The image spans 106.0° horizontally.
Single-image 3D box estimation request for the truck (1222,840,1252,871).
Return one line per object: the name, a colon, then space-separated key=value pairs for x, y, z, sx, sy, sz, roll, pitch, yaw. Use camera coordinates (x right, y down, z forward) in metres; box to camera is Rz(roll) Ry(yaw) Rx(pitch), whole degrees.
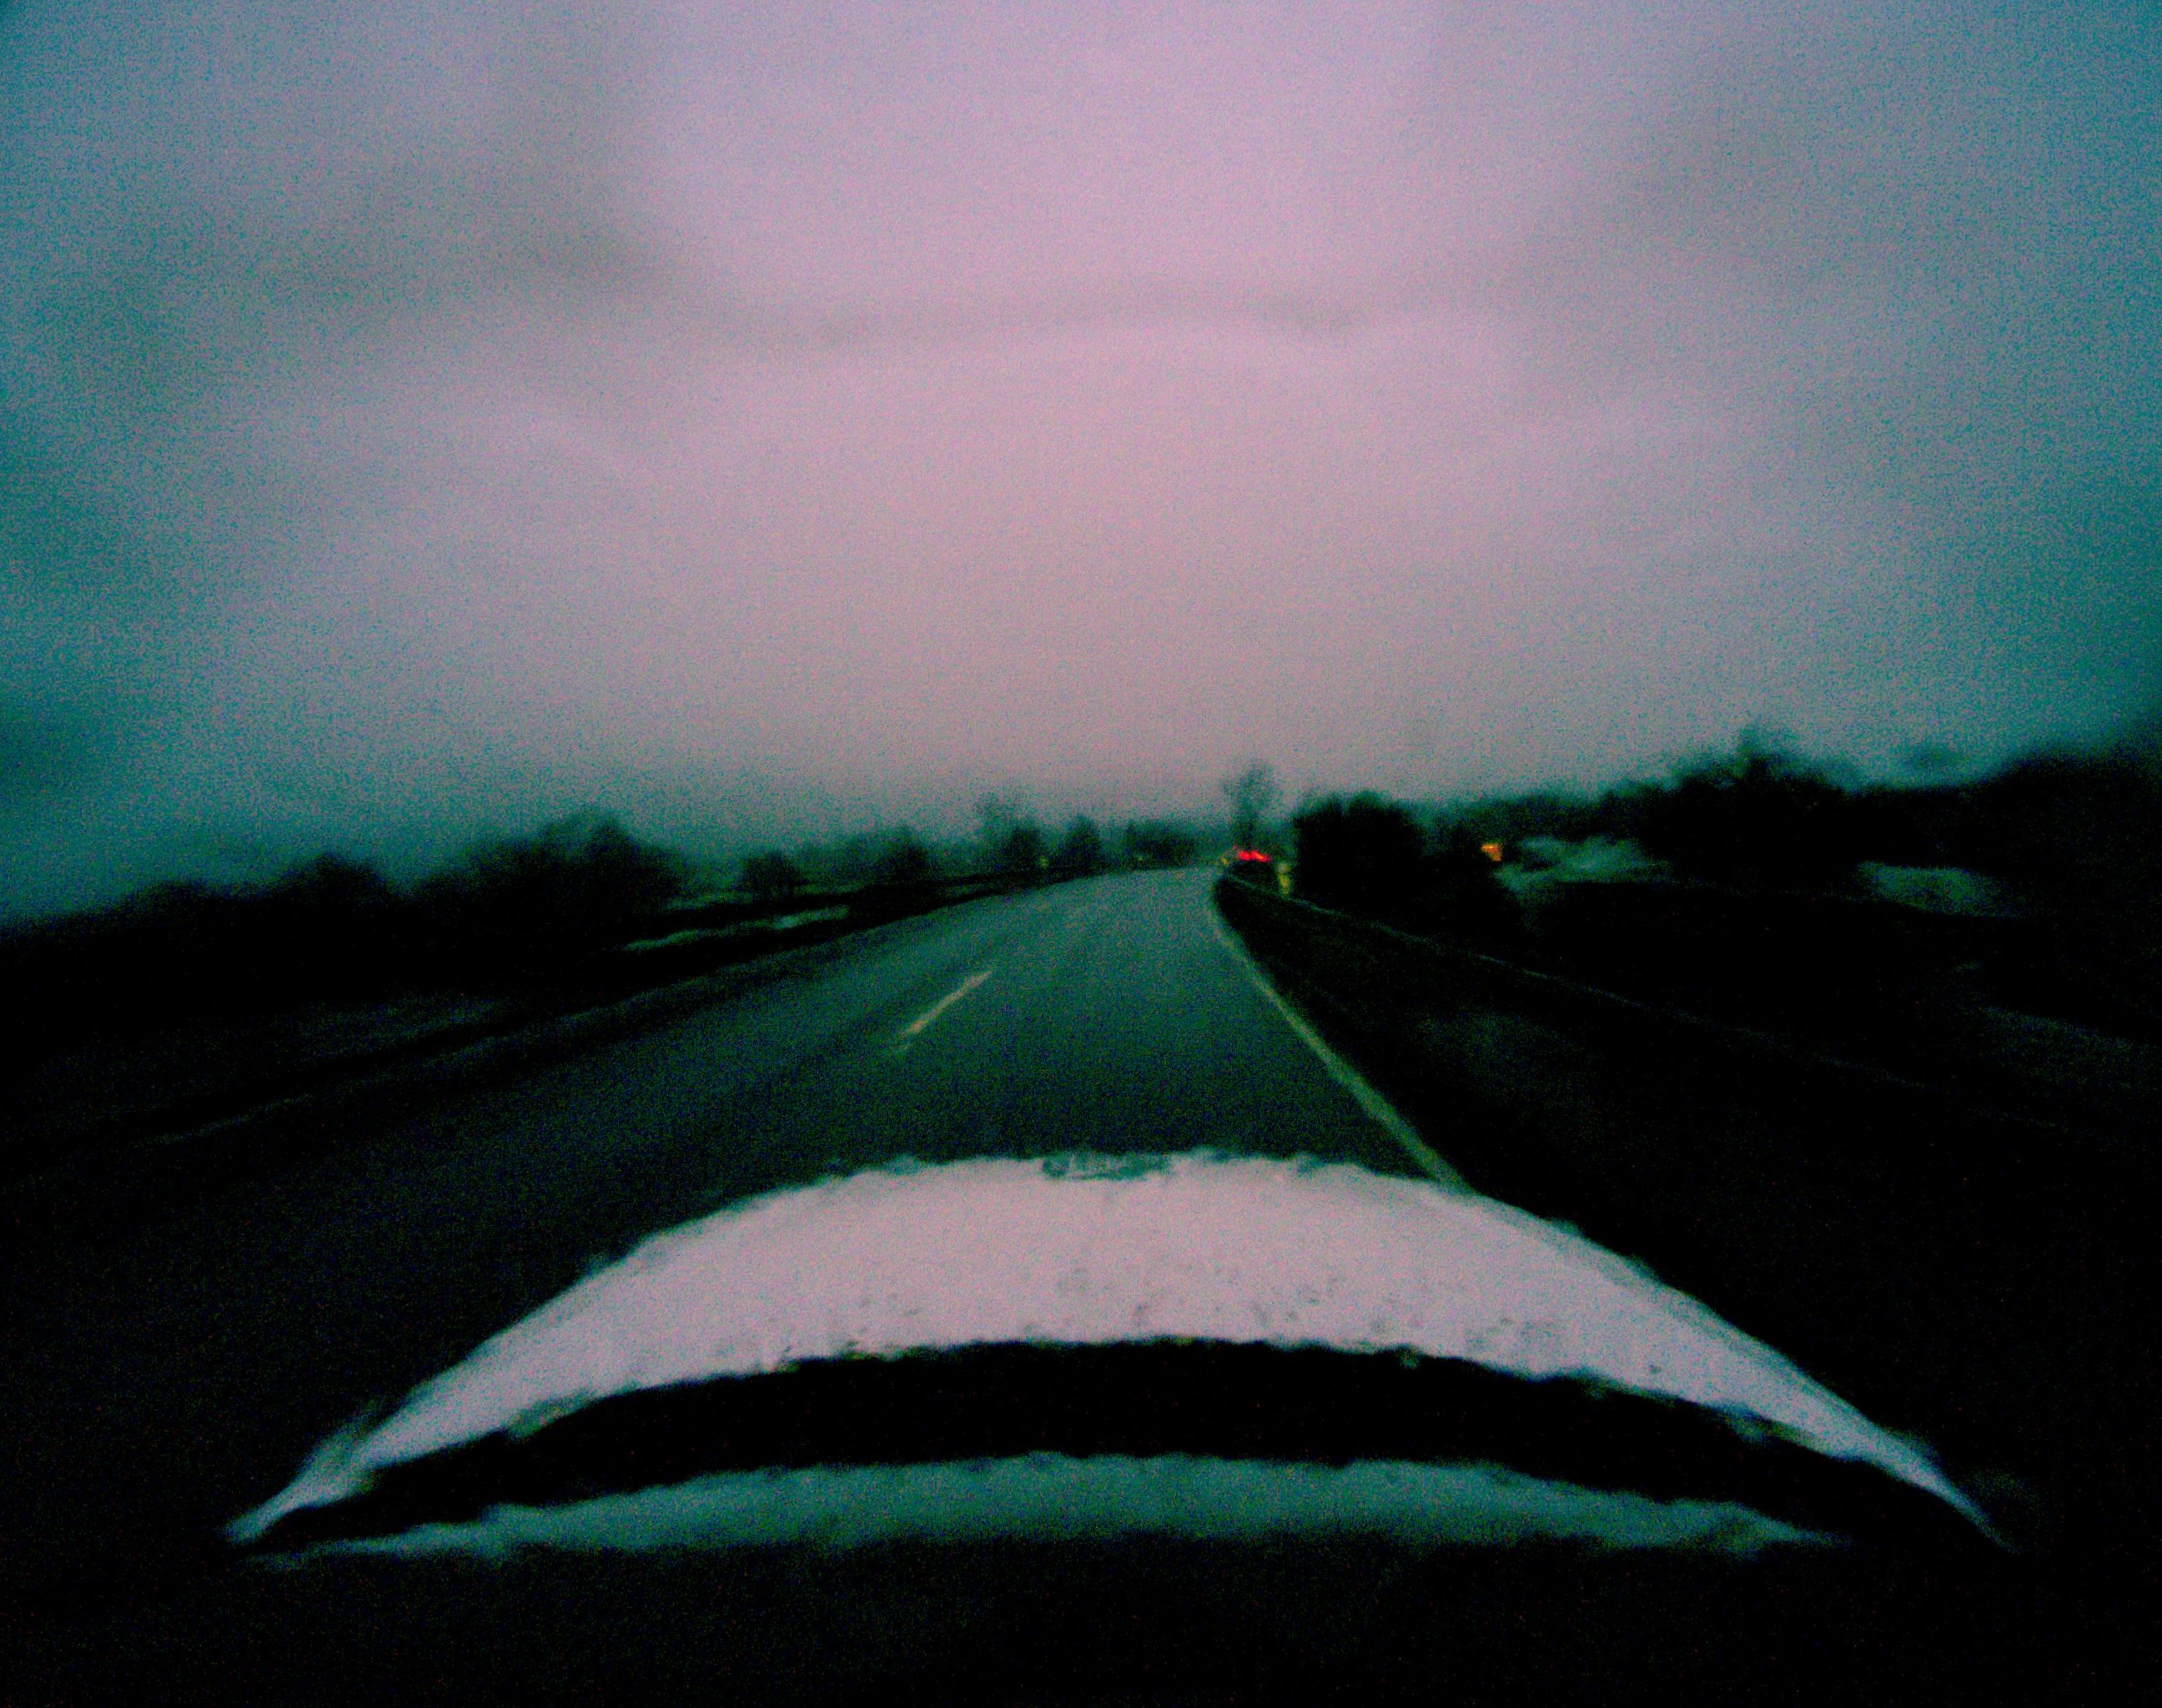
truck: x=15.354 y=0.104 z=79.897 sx=2.513 sy=2.869 sz=5.945 roll=-1 pitch=0 yaw=14
